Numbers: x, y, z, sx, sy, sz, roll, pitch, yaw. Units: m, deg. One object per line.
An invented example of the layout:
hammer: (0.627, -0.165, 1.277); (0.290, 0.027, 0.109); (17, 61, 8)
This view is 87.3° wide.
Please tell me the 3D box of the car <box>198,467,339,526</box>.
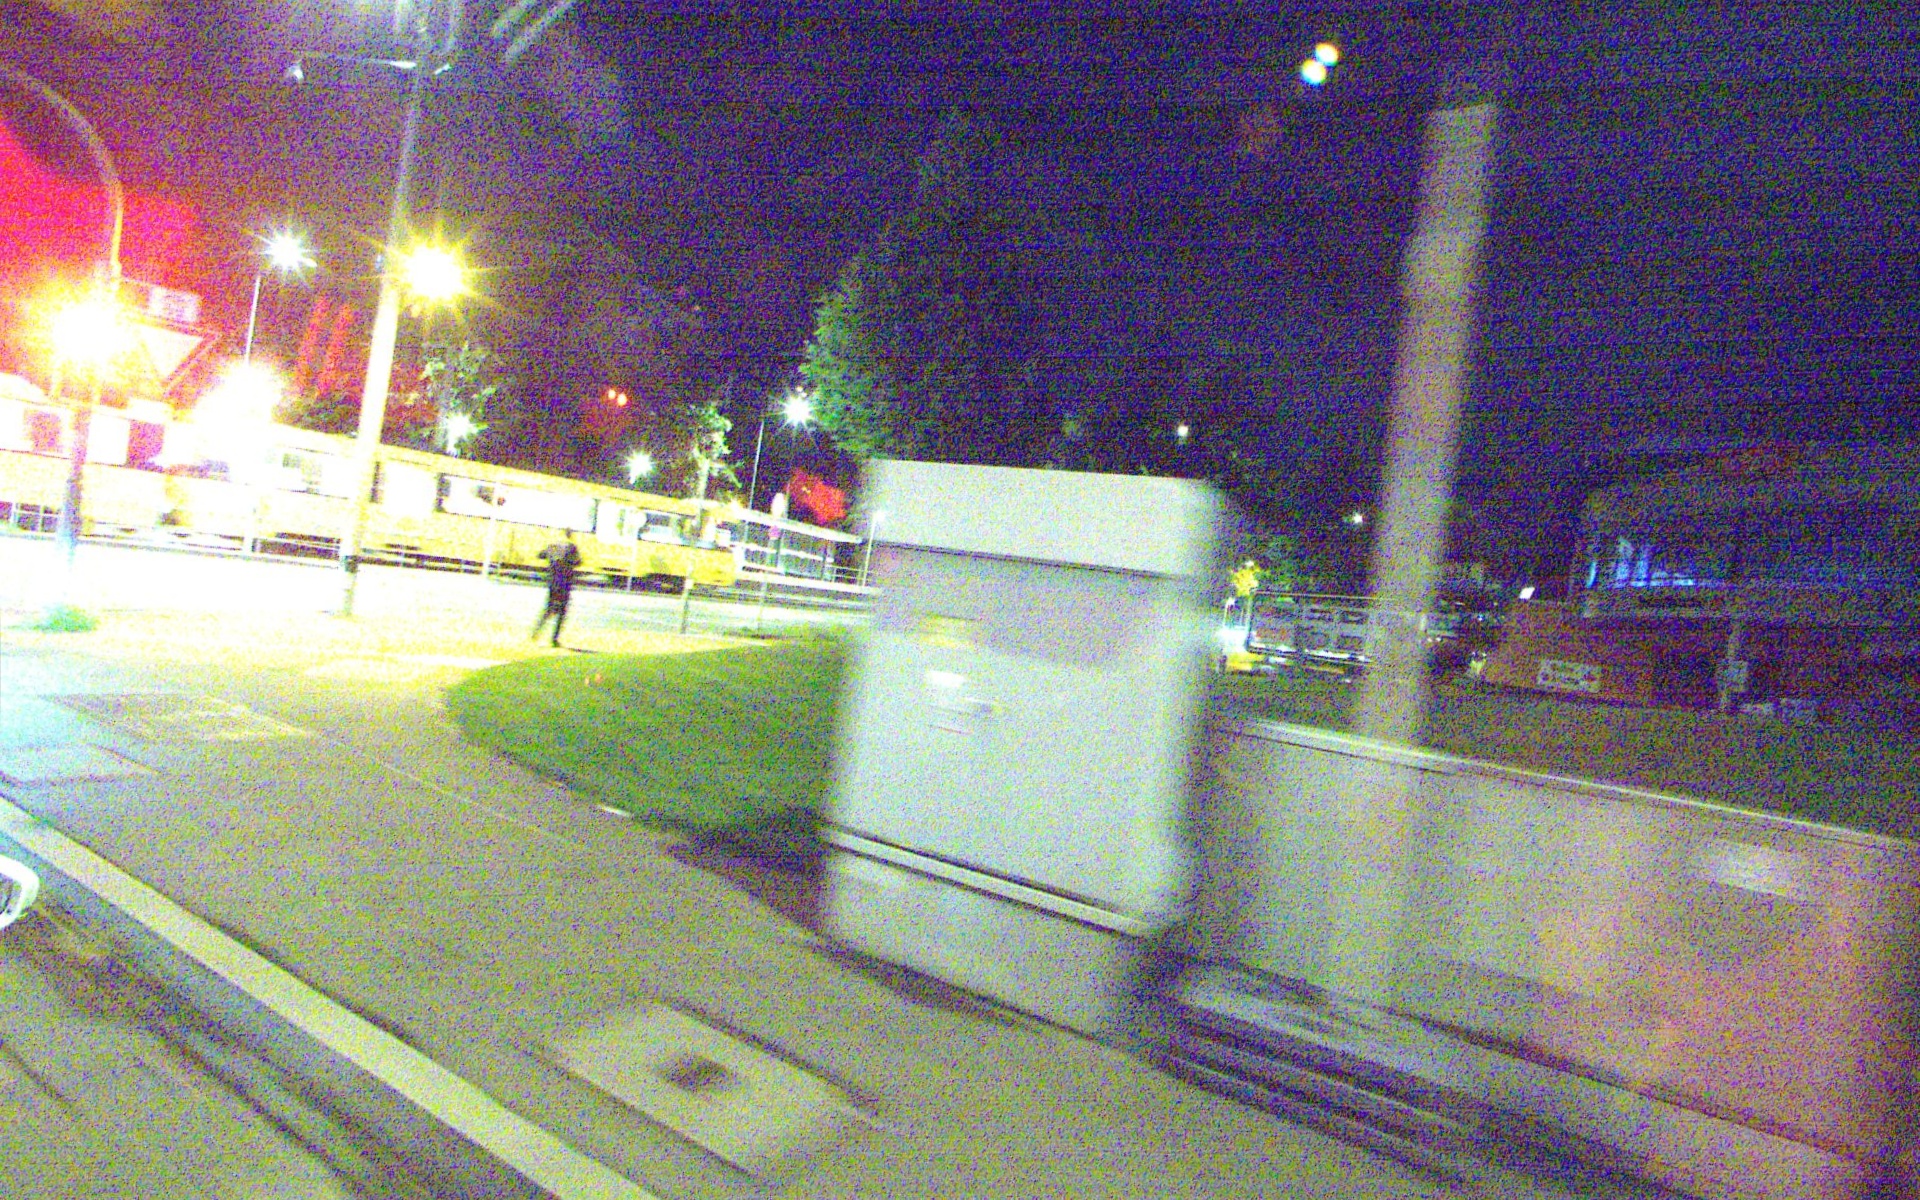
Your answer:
car: (-26.406, -3.922, 38.517); (1.841, 1.637, 4.052); (8, 2, 39)

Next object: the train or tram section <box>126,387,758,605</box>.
train or tram section: (-15.026, -2.666, 33.380); (2.878, 3.870, 19.177); (8, 0, 36)

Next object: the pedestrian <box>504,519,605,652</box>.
pedestrian: (-5.662, -0.196, 14.058); (0.763, 1.734, 0.899); (7, 2, 36)

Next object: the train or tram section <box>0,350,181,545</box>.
train or tram section: (-26.334, -4.269, 17.673); (2.895, 3.908, 19.797); (8, 0, 36)
